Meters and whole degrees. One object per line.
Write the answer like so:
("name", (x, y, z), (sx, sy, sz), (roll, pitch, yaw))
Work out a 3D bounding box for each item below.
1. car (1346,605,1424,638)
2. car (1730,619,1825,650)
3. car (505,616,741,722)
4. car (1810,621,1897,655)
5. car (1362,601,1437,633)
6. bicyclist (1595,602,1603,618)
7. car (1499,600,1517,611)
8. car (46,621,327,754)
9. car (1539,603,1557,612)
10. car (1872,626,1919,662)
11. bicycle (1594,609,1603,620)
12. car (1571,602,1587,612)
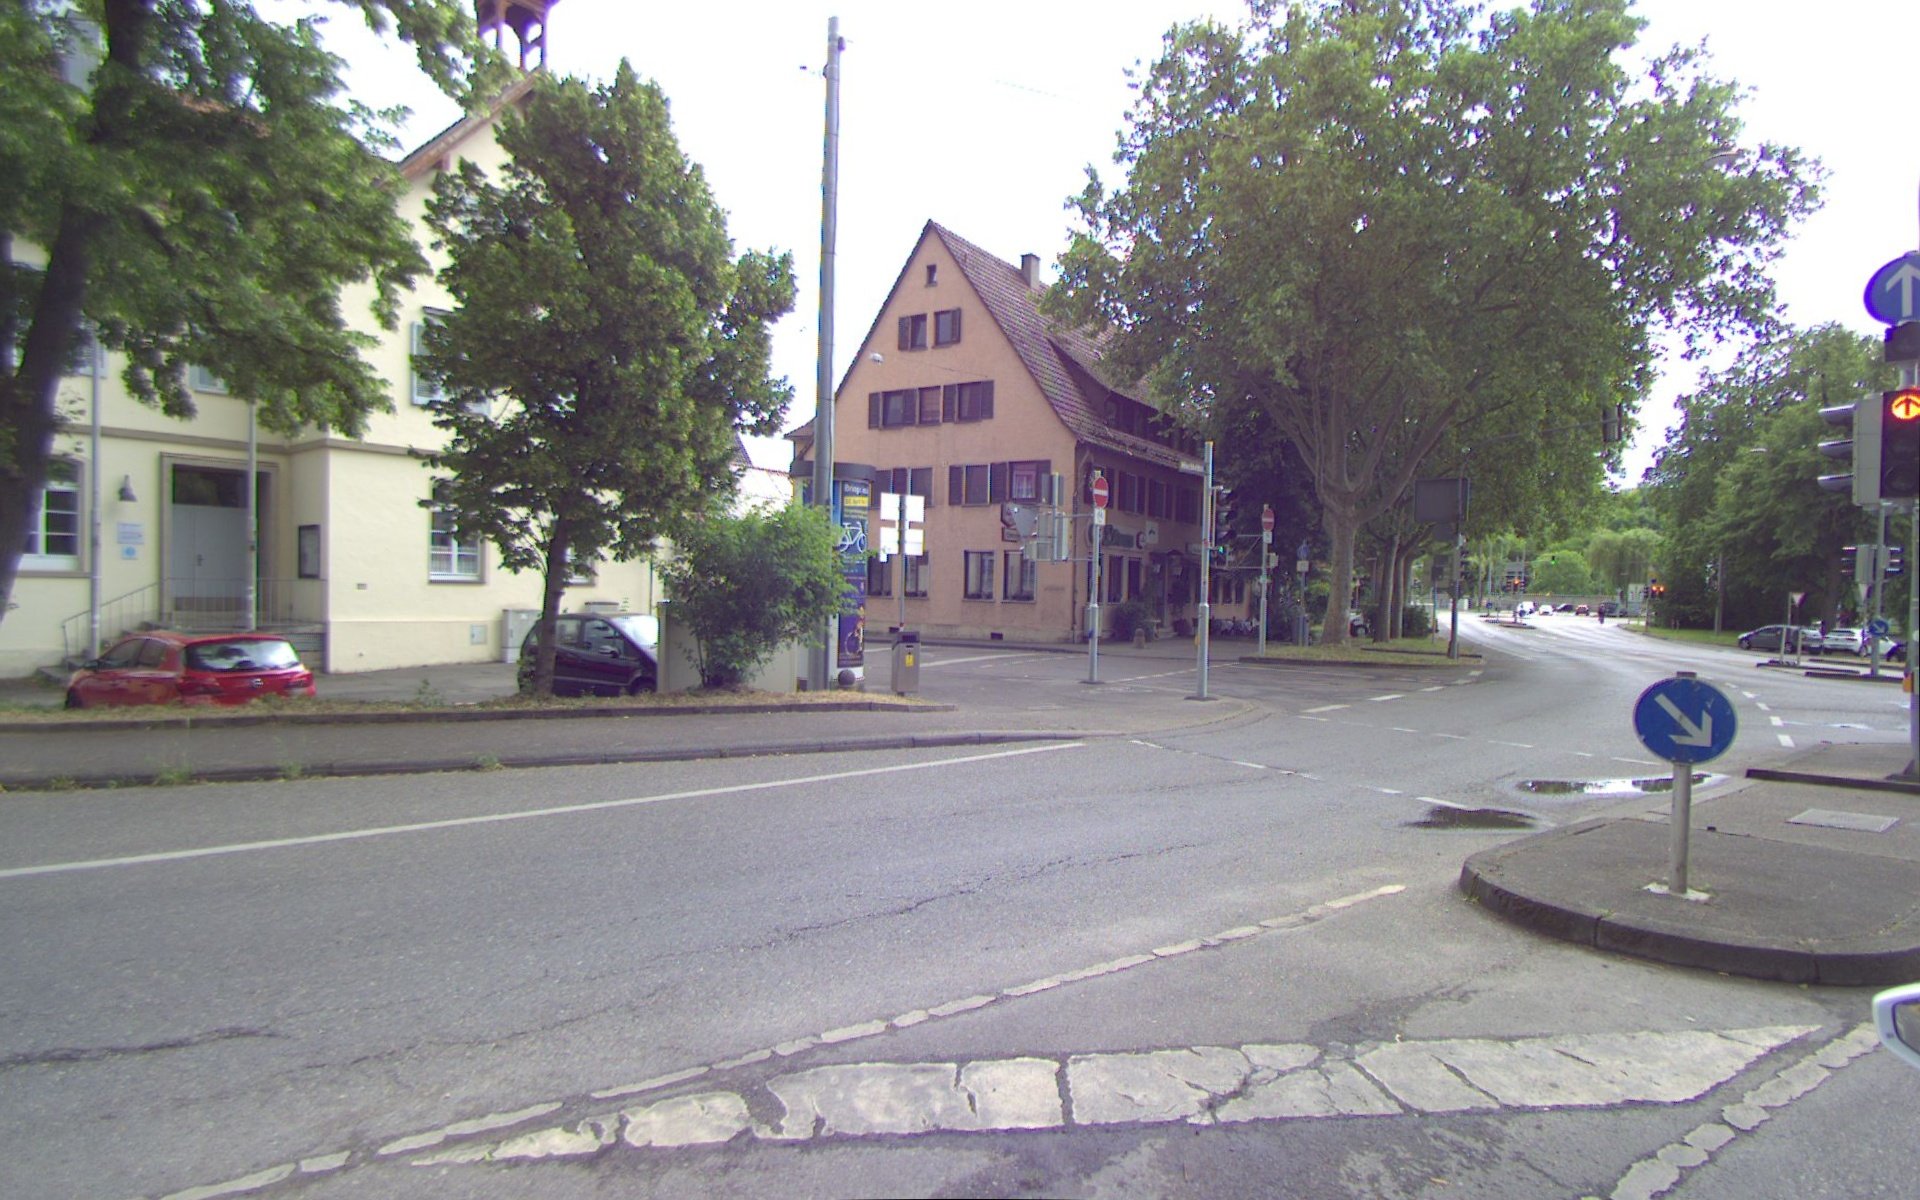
("car", (23.995, 1.218, 56.726), (3.924, 1.706, 1.998), (1, 0, 25))
("car", (43.817, 1.835, 53.932), (1.592, 1.485, 3.778), (2, 0, -11))
("car", (-5.522, 1.055, 16.451), (3.507, 1.459, 1.644), (2, 0, 26))
("car", (47.461, 1.995, 53.352), (3.696, 1.662, 1.859), (2, 0, -19))
("car", (25.726, 0.972, 58.803), (3.924, 1.706, 1.998), (1, 0, 25))
("bicyclist", (57.495, 0.903, 90.431), (0.532, 1.359, 0.713), (2, 0, 30))
("car", (85.395, 0.872, 156.557), (1.553, 1.506, 3.337), (3, 0, 11))
("car", (-10.271, 1.055, 13.306), (3.653, 1.401, 1.659), (2, 0, 30))
("car", (90.780, 1.162, 155.056), (1.469, 1.436, 3.028), (3, 0, 12))
("car", (39.449, 1.827, 40.789), (1.746, 1.370, 3.326), (2, 0, -2))
("bicycle", (57.534, 1.342, 90.530), (0.548, 0.971, 2.029), (2, 0, 30))
("car", (103.614, 1.218, 168.180), (1.964, 1.617, 3.994), (2, 0, 28))
